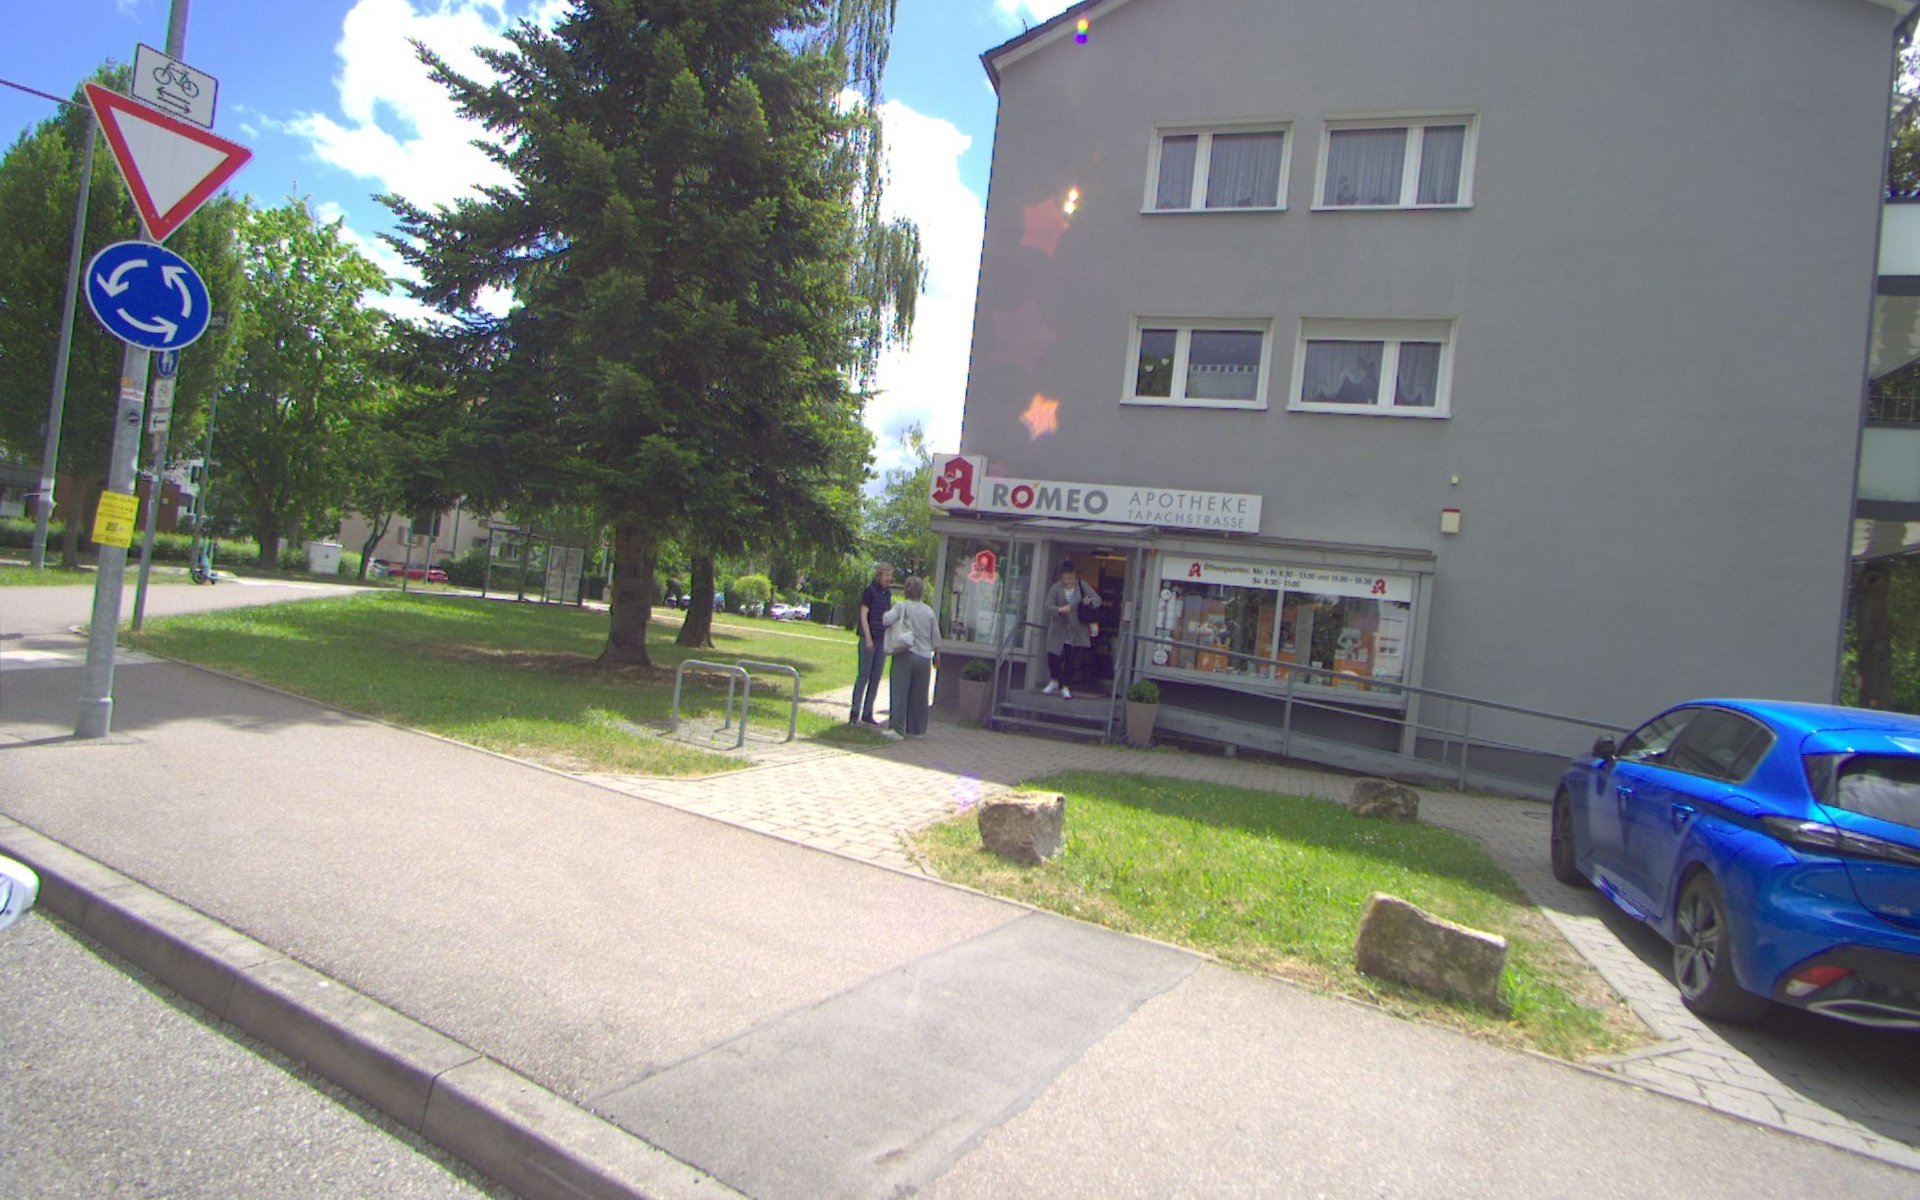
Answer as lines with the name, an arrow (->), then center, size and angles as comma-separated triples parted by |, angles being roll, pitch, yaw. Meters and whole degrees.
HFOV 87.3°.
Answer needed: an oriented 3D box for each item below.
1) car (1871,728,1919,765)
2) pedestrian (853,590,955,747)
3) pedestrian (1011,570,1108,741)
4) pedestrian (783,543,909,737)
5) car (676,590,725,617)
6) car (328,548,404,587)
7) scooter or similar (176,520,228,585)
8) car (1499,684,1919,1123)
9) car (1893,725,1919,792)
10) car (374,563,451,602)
car -> 39.099, 6.029, 40.887 | 1.965, 1.327, 4.001 | 6, -3, 27
pedestrian -> -0.591, 0.727, 10.767 | 0.678, 1.548, 0.744 | 6, 0, 22
pedestrian -> 1.265, 0.691, 12.653 | 0.924, 1.980, 0.843 | 6, 0, 11
pedestrian -> -1.287, 0.441, 11.446 | 1.027, 2.038, 0.656 | 6, 0, 19
car -> -19.904, 0.277, 77.437 | 1.962, 1.570, 4.007 | 7, -3, 11
car -> -39.926, -2.175, 67.650 | 3.924, 1.963, 2.003 | 7, -2, 16
scooter or similar -> -17.068, -1.066, 22.668 | 0.479, 1.360, 1.381 | 6, 1, -21
car -> 4.648, 1.370, 5.668 | 1.962, 1.259, 4.495 | 7, 1, 18
car -> 23.576, 3.864, 23.169 | 1.885, 1.521, 3.997 | 6, -1, 27
car -> -36.027, -1.125, 66.212 | 3.924, 1.963, 2.021 | 7, -2, 16
